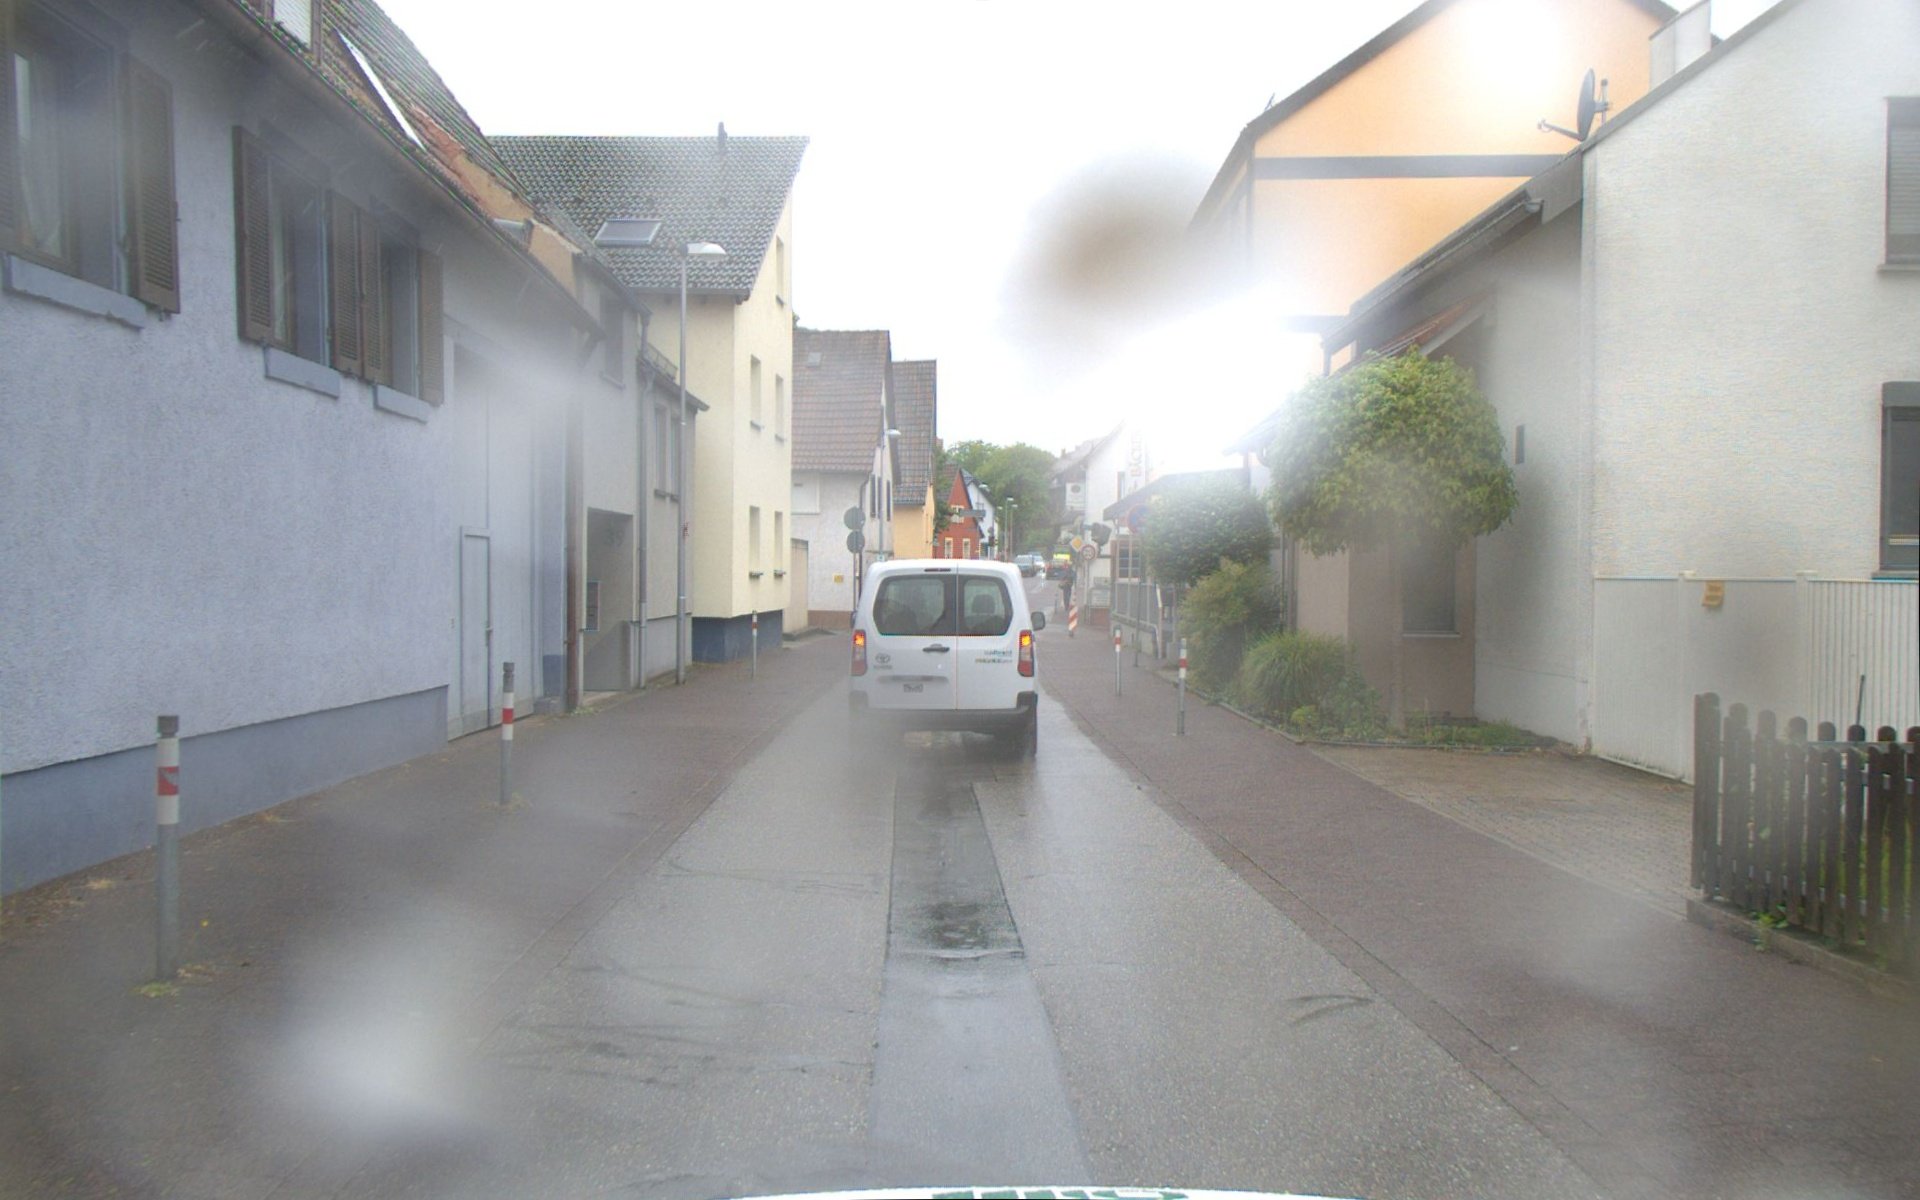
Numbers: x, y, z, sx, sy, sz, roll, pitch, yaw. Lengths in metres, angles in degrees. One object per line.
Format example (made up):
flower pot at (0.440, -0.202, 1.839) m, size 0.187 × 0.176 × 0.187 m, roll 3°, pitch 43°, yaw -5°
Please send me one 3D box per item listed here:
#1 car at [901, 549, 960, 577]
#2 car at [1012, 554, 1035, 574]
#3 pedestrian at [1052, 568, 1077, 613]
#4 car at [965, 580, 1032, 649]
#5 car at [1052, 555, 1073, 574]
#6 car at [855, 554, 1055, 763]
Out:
car at (-1.940, -2.421, 108.281) m, size 3.375 × 1.586 × 1.986 m, roll -4°, pitch 3°, yaw -23°
car at (5.096, -2.882, 132.559) m, size 1.555 × 1.466 × 3.769 m, roll 1°, pitch 0°, yaw 7°
pedestrian at (4.508, -0.400, 71.372) m, size 1.029 × 1.926 × 0.877 m, roll -1°, pitch 0°, yaw 0°
car at (1.241, 0.427, 51.985) m, size 1.952 × 2.049 × 4.002 m, roll -1°, pitch 0°, yaw 3°
car at (8.319, -2.864, 134.299) m, size 1.555 × 1.466 × 3.768 m, roll 1°, pitch 0°, yaw 6°
car at (-0.091, 0.501, 16.580) m, size 1.739 × 1.811 × 3.999 m, roll -1°, pitch 0°, yaw -2°
